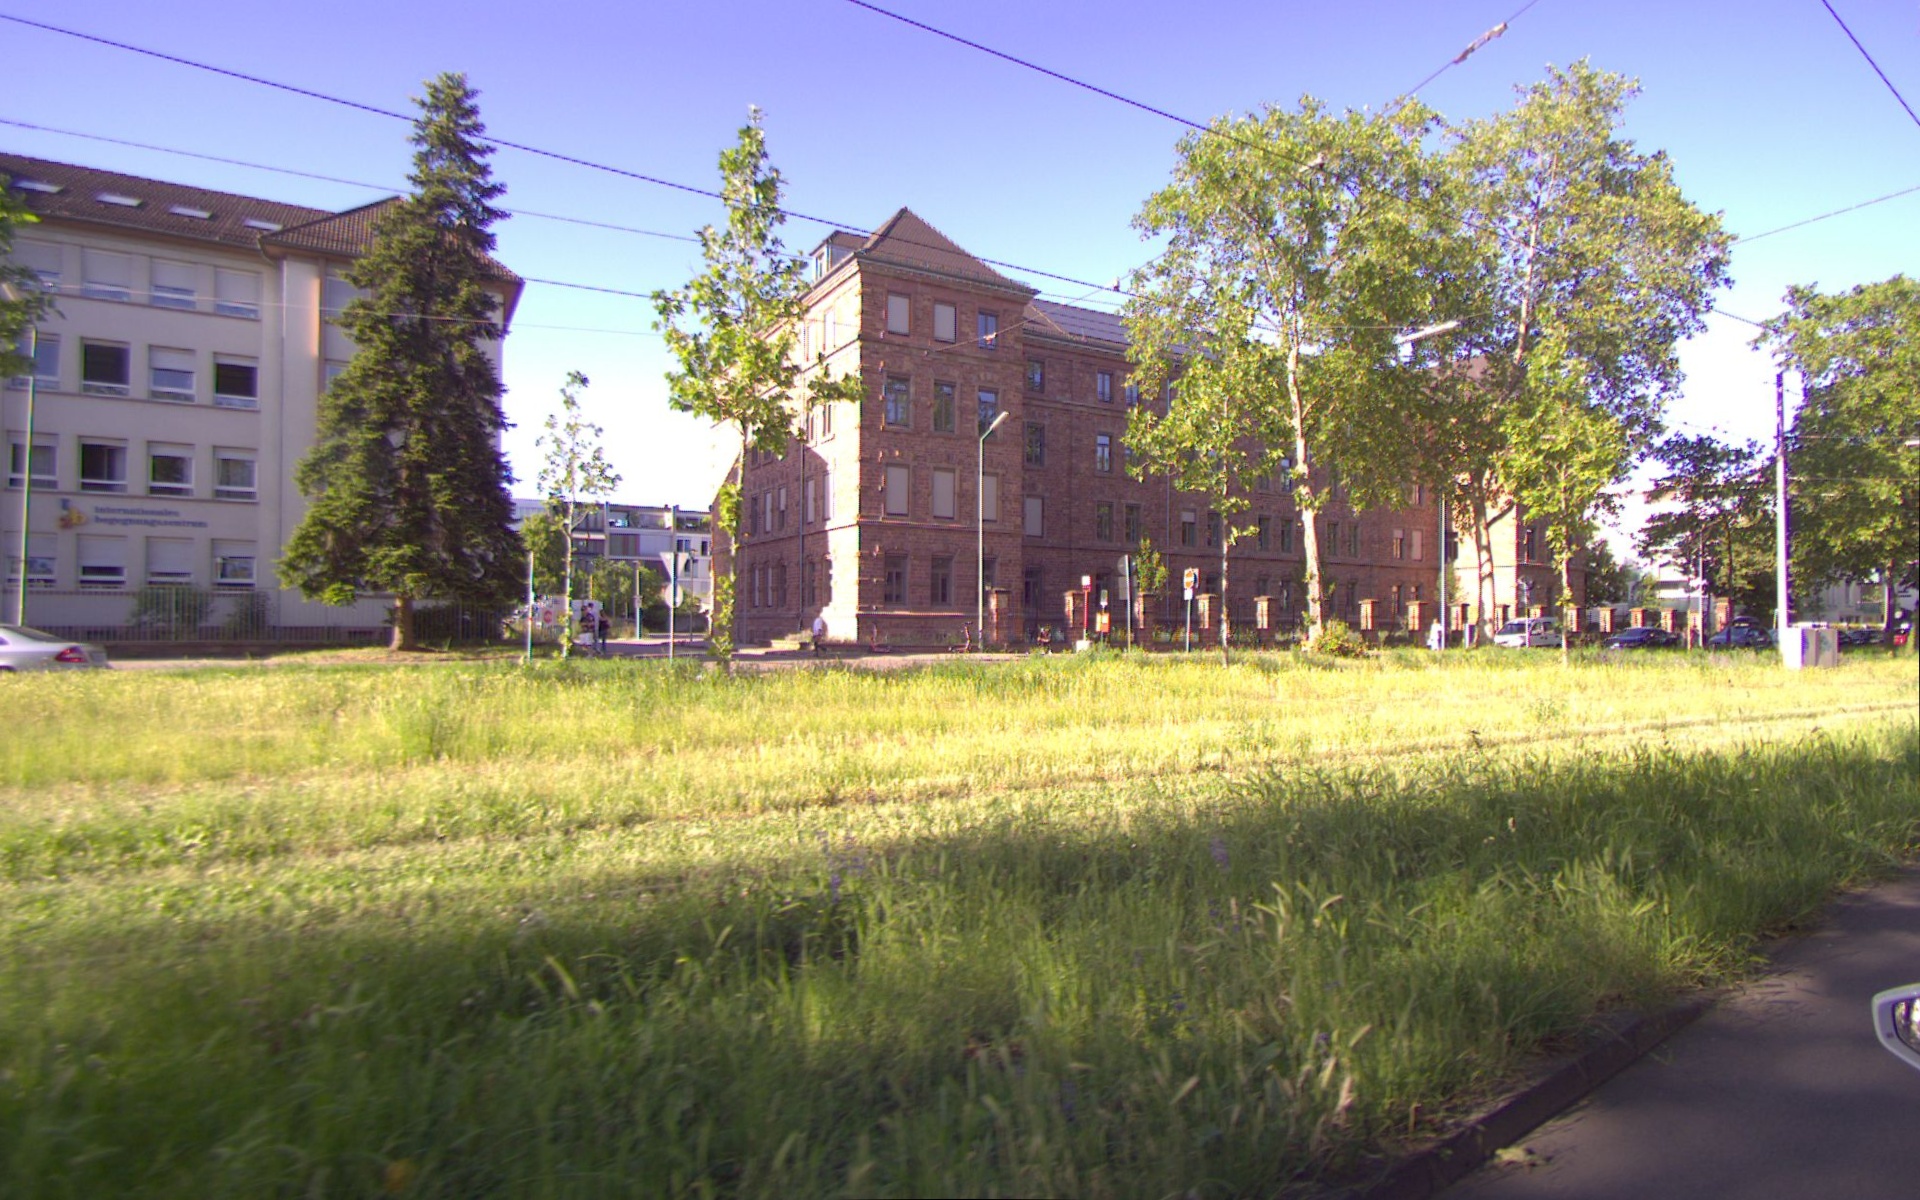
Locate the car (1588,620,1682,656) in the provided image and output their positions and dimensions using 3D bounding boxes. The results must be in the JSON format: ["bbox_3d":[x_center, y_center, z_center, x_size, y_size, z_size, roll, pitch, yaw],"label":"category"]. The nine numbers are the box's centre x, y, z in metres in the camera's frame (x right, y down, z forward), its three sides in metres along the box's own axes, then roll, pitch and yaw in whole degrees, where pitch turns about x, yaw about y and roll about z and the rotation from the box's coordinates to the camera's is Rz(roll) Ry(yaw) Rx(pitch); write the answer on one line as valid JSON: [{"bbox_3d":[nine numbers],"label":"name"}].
[{"bbox_3d":[33.645,1.837,50.024,4.769,1.671,1.985,0,-1,-30],"label":"car"}]

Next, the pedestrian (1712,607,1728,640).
[{"bbox_3d":[46.766,1.450,61.799,0.702,2.040,0.582,1,-1,-30],"label":"pedestrian"}]

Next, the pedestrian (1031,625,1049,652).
[{"bbox_3d":[3.260,1.567,40.891,0.581,1.114,0.441,0,-1,-34],"label":"pedestrian"}]

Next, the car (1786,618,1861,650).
[{"bbox_3d":[52.237,2.023,60.750,4.684,1.833,2.098,0,-1,-31],"label":"car"}]

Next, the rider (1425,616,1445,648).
[{"bbox_3d":[25.045,1.667,52.953,0.678,1.666,0.725,0,-1,-29],"label":"rider"}]

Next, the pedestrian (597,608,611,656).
[{"bbox_3d":[-12.852,1.144,36.289,0.443,1.718,0.374,0,0,-23],"label":"pedestrian"}]

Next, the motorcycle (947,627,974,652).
[{"bbox_3d":[0.011,1.510,38.734,1.033,0.959,0.332,1,-1,-34],"label":"motorcycle"}]

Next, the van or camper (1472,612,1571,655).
[{"bbox_3d":[25.022,1.482,44.721,4.383,1.811,1.983,1,-2,-32],"label":"van or camper"}]

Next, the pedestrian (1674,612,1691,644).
[{"bbox_3d":[46.612,1.822,64.816,0.618,2.040,0.711,0,-1,-29],"label":"pedestrian"}]

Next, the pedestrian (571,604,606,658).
[{"bbox_3d":[-12.069,1.003,32.634,0.672,1.718,0.820,0,-1,41],"label":"pedestrian"}]

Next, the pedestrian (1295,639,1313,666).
[{"bbox_3d":[14.861,2.270,43.414,0.473,1.114,0.583,0,-1,-31],"label":"pedestrian"}]

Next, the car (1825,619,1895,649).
[{"bbox_3d":[56.852,2.137,63.462,4.685,1.833,2.098,1,-1,-32],"label":"car"}]

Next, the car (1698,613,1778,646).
[{"bbox_3d":[42.800,1.617,55.224,4.361,1.742,1.763,0,-1,-26],"label":"car"}]

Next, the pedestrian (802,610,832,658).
[{"bbox_3d":[-5.200,1.216,36.472,0.670,1.718,0.882,0,-1,32],"label":"pedestrian"}]

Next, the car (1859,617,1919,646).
[{"bbox_3d":[61.742,2.062,66.456,4.684,1.833,2.098,1,-1,-31],"label":"car"}]

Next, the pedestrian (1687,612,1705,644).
[{"bbox_3d":[47.022,1.791,64.157,0.618,2.040,0.711,0,-1,-29],"label":"pedestrian"}]

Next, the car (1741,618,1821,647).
[{"bbox_3d":[47.443,1.849,58.039,4.361,1.637,1.987,0,-1,-26],"label":"car"}]

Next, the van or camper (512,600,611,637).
[{"bbox_3d":[-29.331,1.354,74.107,6.590,2.678,1.983,1,-1,-31],"label":"van or camper"}]

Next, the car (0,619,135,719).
[{"bbox_3d":[-17.067,1.151,17.017,4.413,1.644,1.761,1,-1,-24],"label":"car"}]

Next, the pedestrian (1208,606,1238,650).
[{"bbox_3d":[11.764,1.234,44.948,0.930,1.925,0.897,0,-1,-29],"label":"pedestrian"}]
